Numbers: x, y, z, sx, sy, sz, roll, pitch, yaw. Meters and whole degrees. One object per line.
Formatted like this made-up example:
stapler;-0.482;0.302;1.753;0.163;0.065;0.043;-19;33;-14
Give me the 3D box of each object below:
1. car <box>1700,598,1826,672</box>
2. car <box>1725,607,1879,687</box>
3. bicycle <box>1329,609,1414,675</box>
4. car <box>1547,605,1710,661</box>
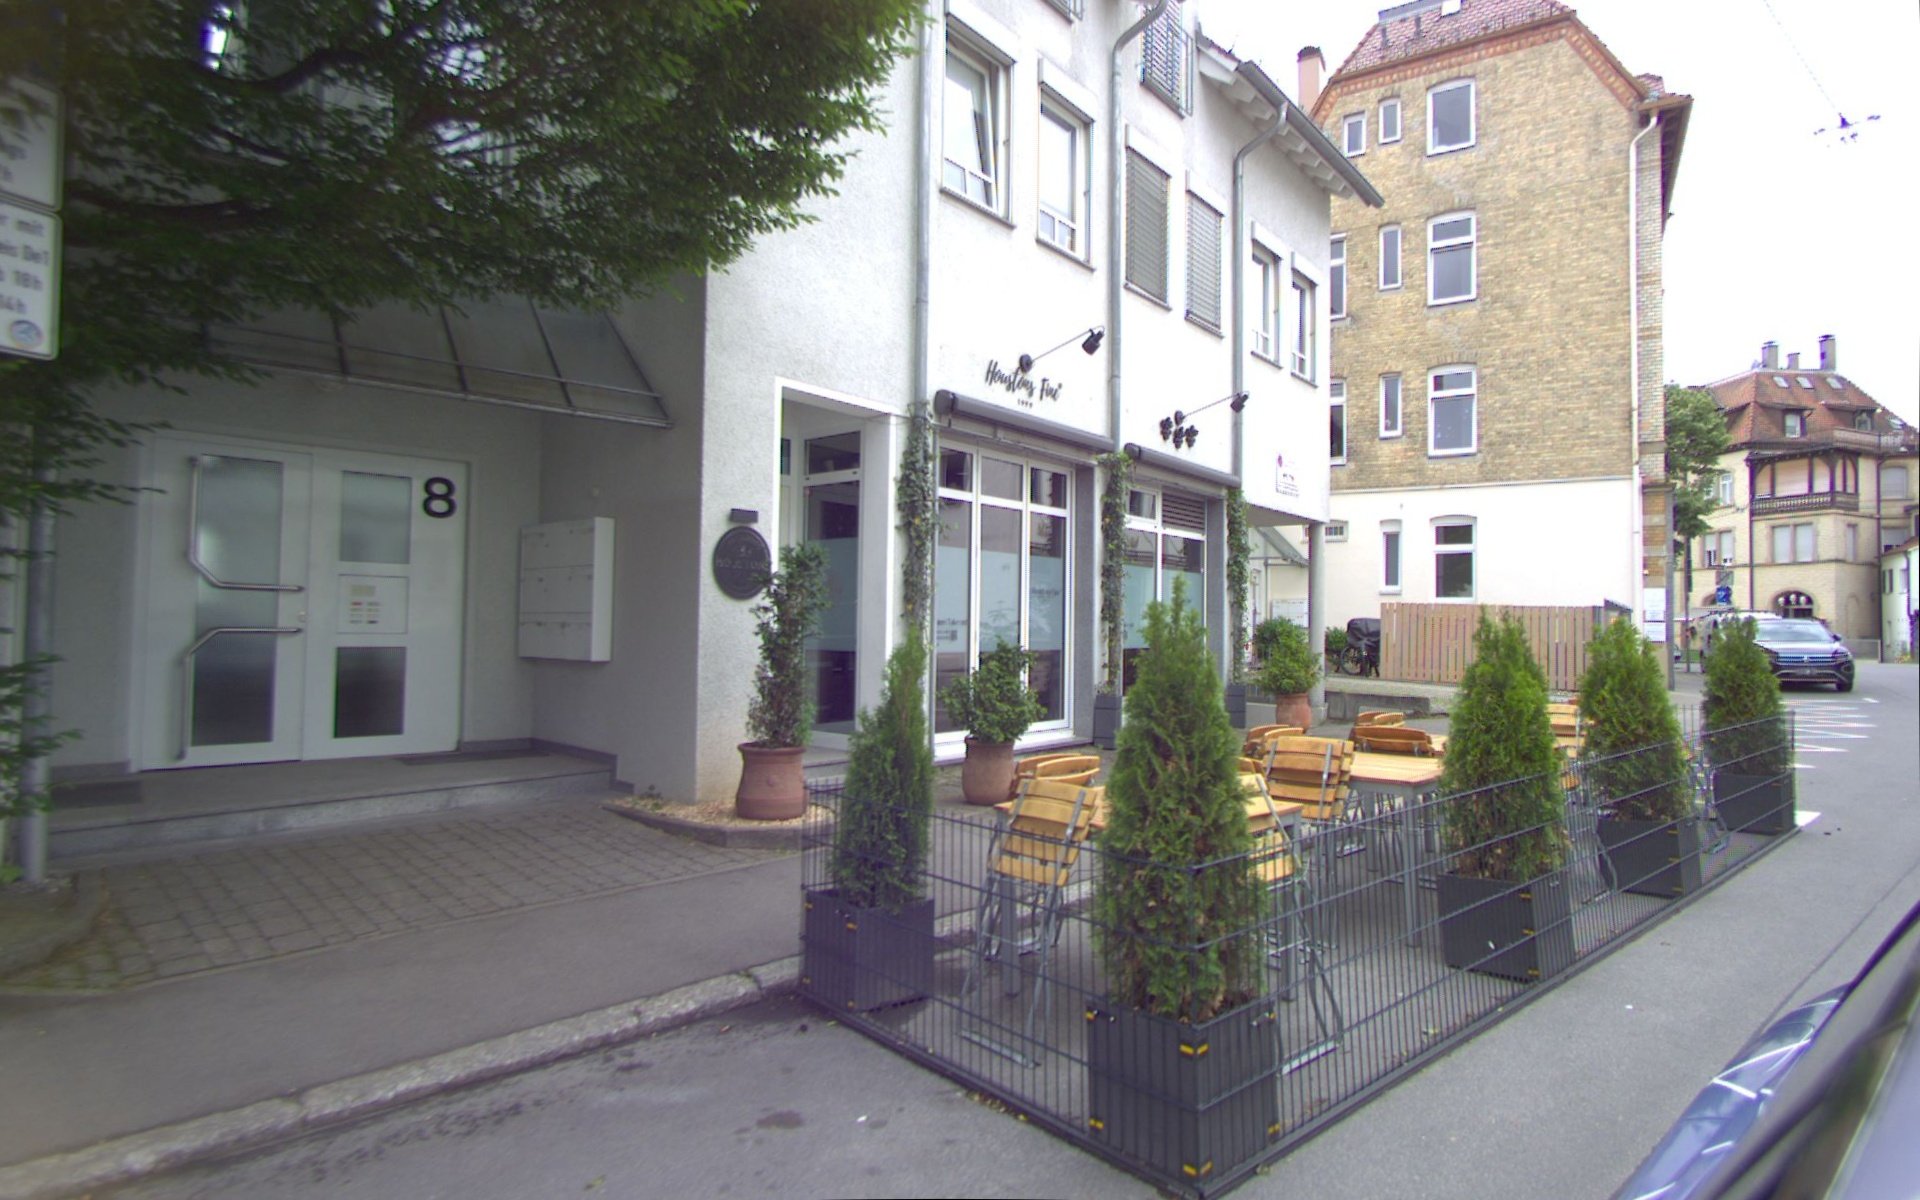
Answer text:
car;21.531;0.926;27.320;1.814;1.815;4.177;-1;-2;27
car;19.060;1.005;23.122;1.777;1.621;4.496;-1;-1;28
bicycle;8.458;0.864;20.757;0.958;1.234;2.068;2;-1;42
car;21.848;1.057;33.225;1.826;1.726;4.023;0;-1;-33
